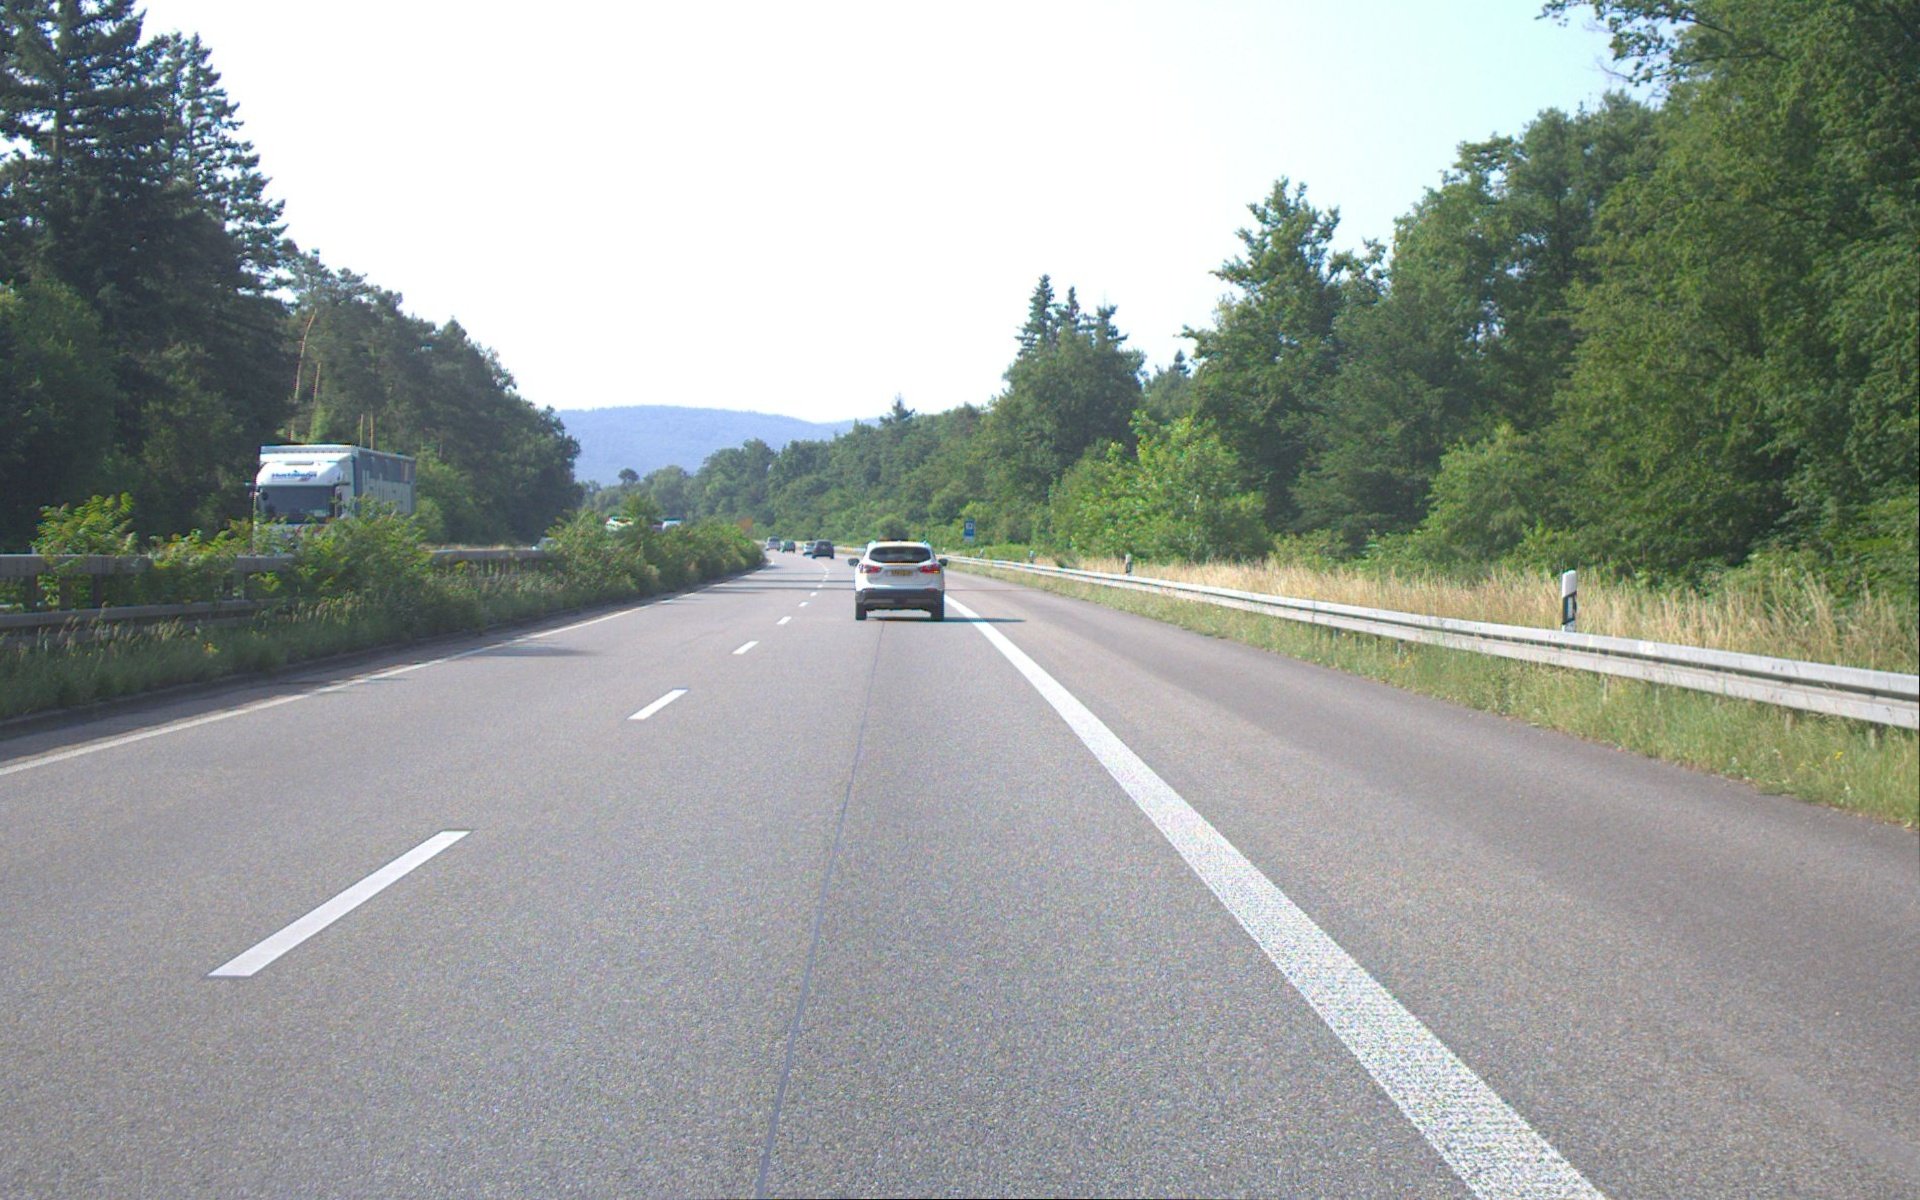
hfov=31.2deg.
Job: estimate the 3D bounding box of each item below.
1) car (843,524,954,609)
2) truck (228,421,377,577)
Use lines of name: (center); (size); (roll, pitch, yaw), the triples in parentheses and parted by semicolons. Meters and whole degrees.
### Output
car: (-1.289, -0.709, 69.889); (1.873, 1.581, 4.001); (2, 1, -6)
truck: (-17.806, -2.718, 93.488); (2.892, 4.018, 6.026); (-1, 1, -1)
